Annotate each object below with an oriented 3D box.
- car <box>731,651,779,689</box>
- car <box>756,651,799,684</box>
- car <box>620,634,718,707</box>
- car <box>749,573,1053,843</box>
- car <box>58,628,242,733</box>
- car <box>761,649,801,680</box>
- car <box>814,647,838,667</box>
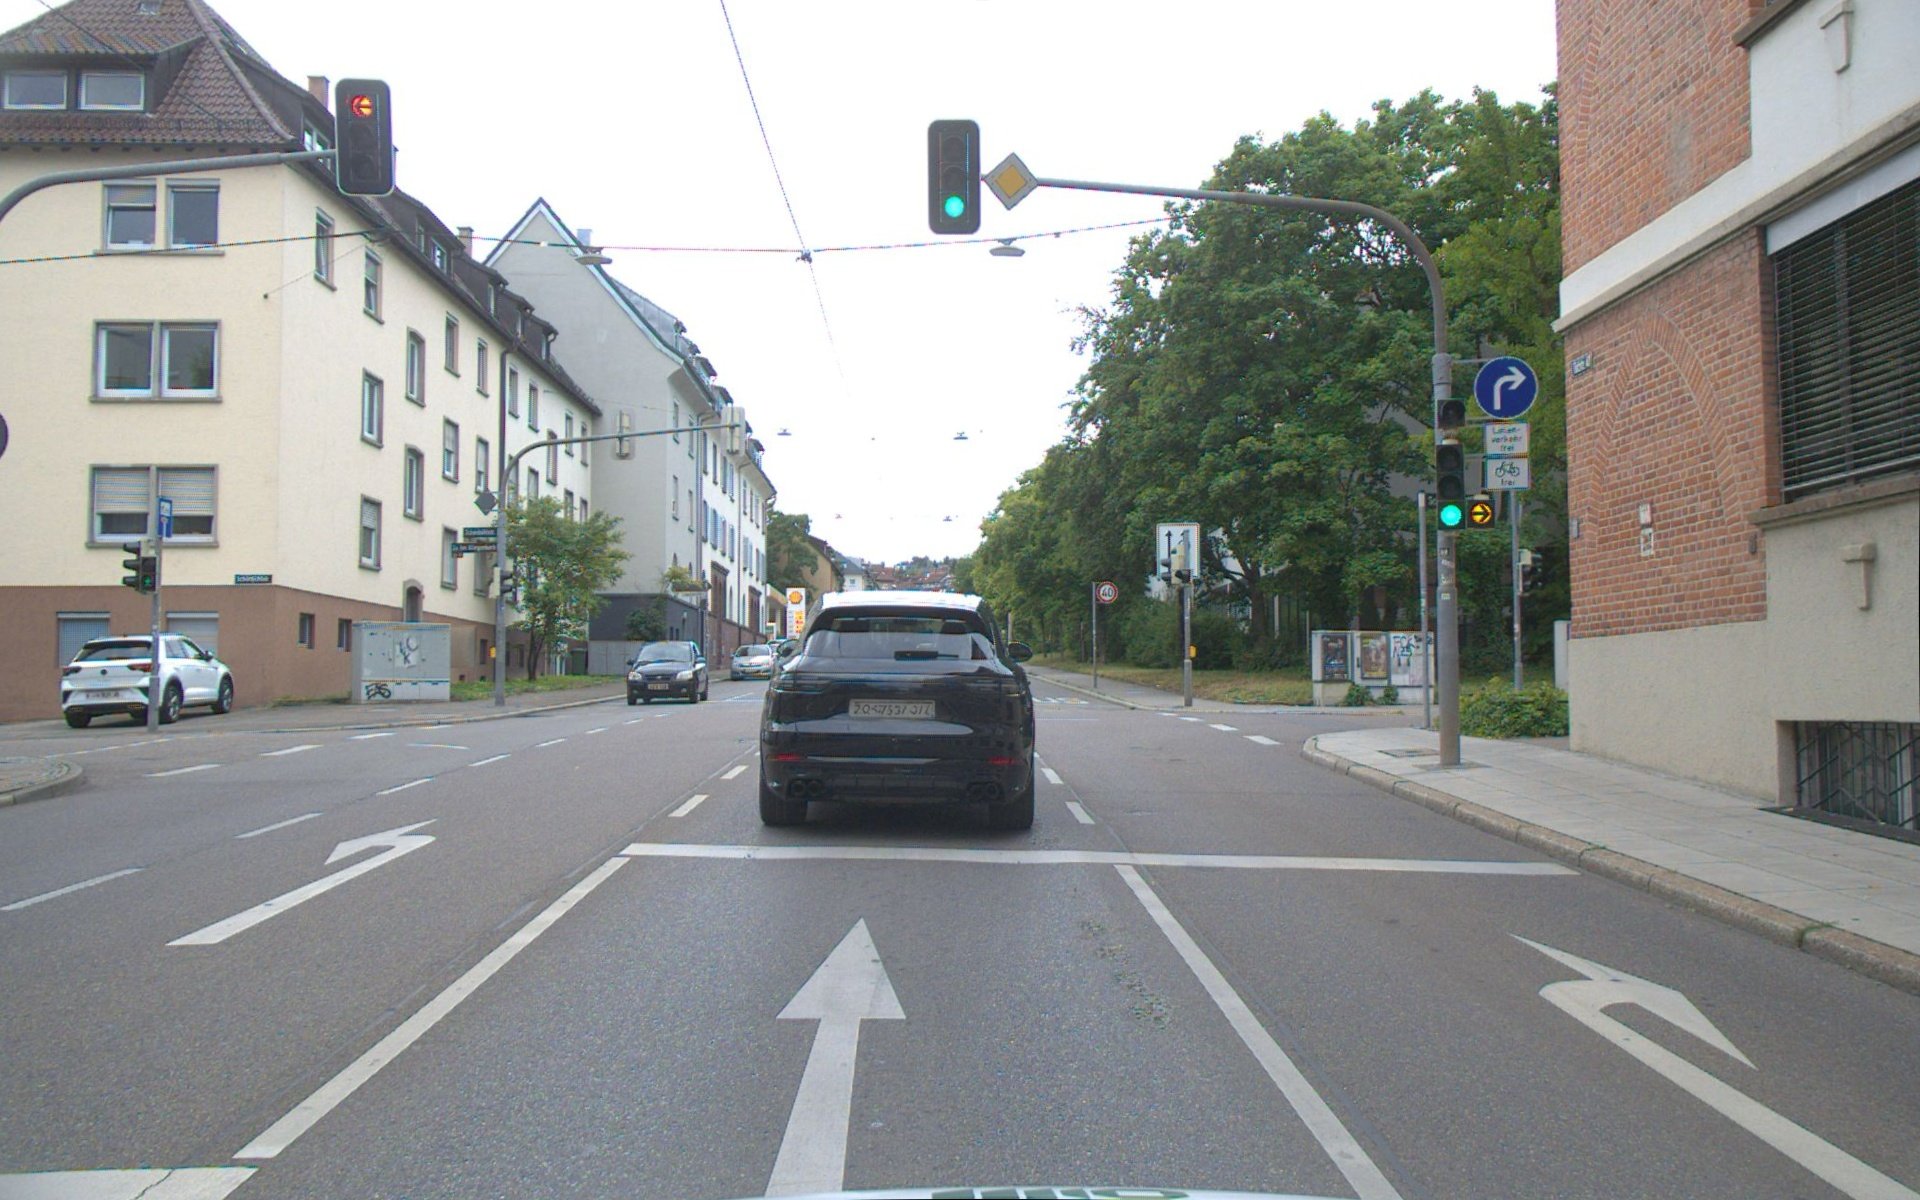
[{"bbox_3d":[-8.159,2.771,66.039,1.637,1.386,3.997,0,-1,-4],"label":"car"},{"bbox_3d":[-8.114,2.996,73.765,1.636,1.386,3.998,0,-1,-3],"label":"car"},{"bbox_3d":[-6.922,1.657,39.640,1.630,1.545,3.739,-3,-1,0],"label":"car"},{"bbox_3d":[-0.412,0.731,12.828,1.953,1.726,3.999,1,-1,-1],"label":"car"},{"bbox_3d":[-14.721,1.414,30.285,1.637,1.691,3.995,-3,0,-5],"label":"car"},{"bbox_3d":[-8.565,3.083,79.467,1.636,1.386,3.998,0,-1,-3],"label":"car"},{"bbox_3d":[-9.912,4.198,122.311,1.636,1.386,3.998,0,-1,-3],"label":"car"}]
